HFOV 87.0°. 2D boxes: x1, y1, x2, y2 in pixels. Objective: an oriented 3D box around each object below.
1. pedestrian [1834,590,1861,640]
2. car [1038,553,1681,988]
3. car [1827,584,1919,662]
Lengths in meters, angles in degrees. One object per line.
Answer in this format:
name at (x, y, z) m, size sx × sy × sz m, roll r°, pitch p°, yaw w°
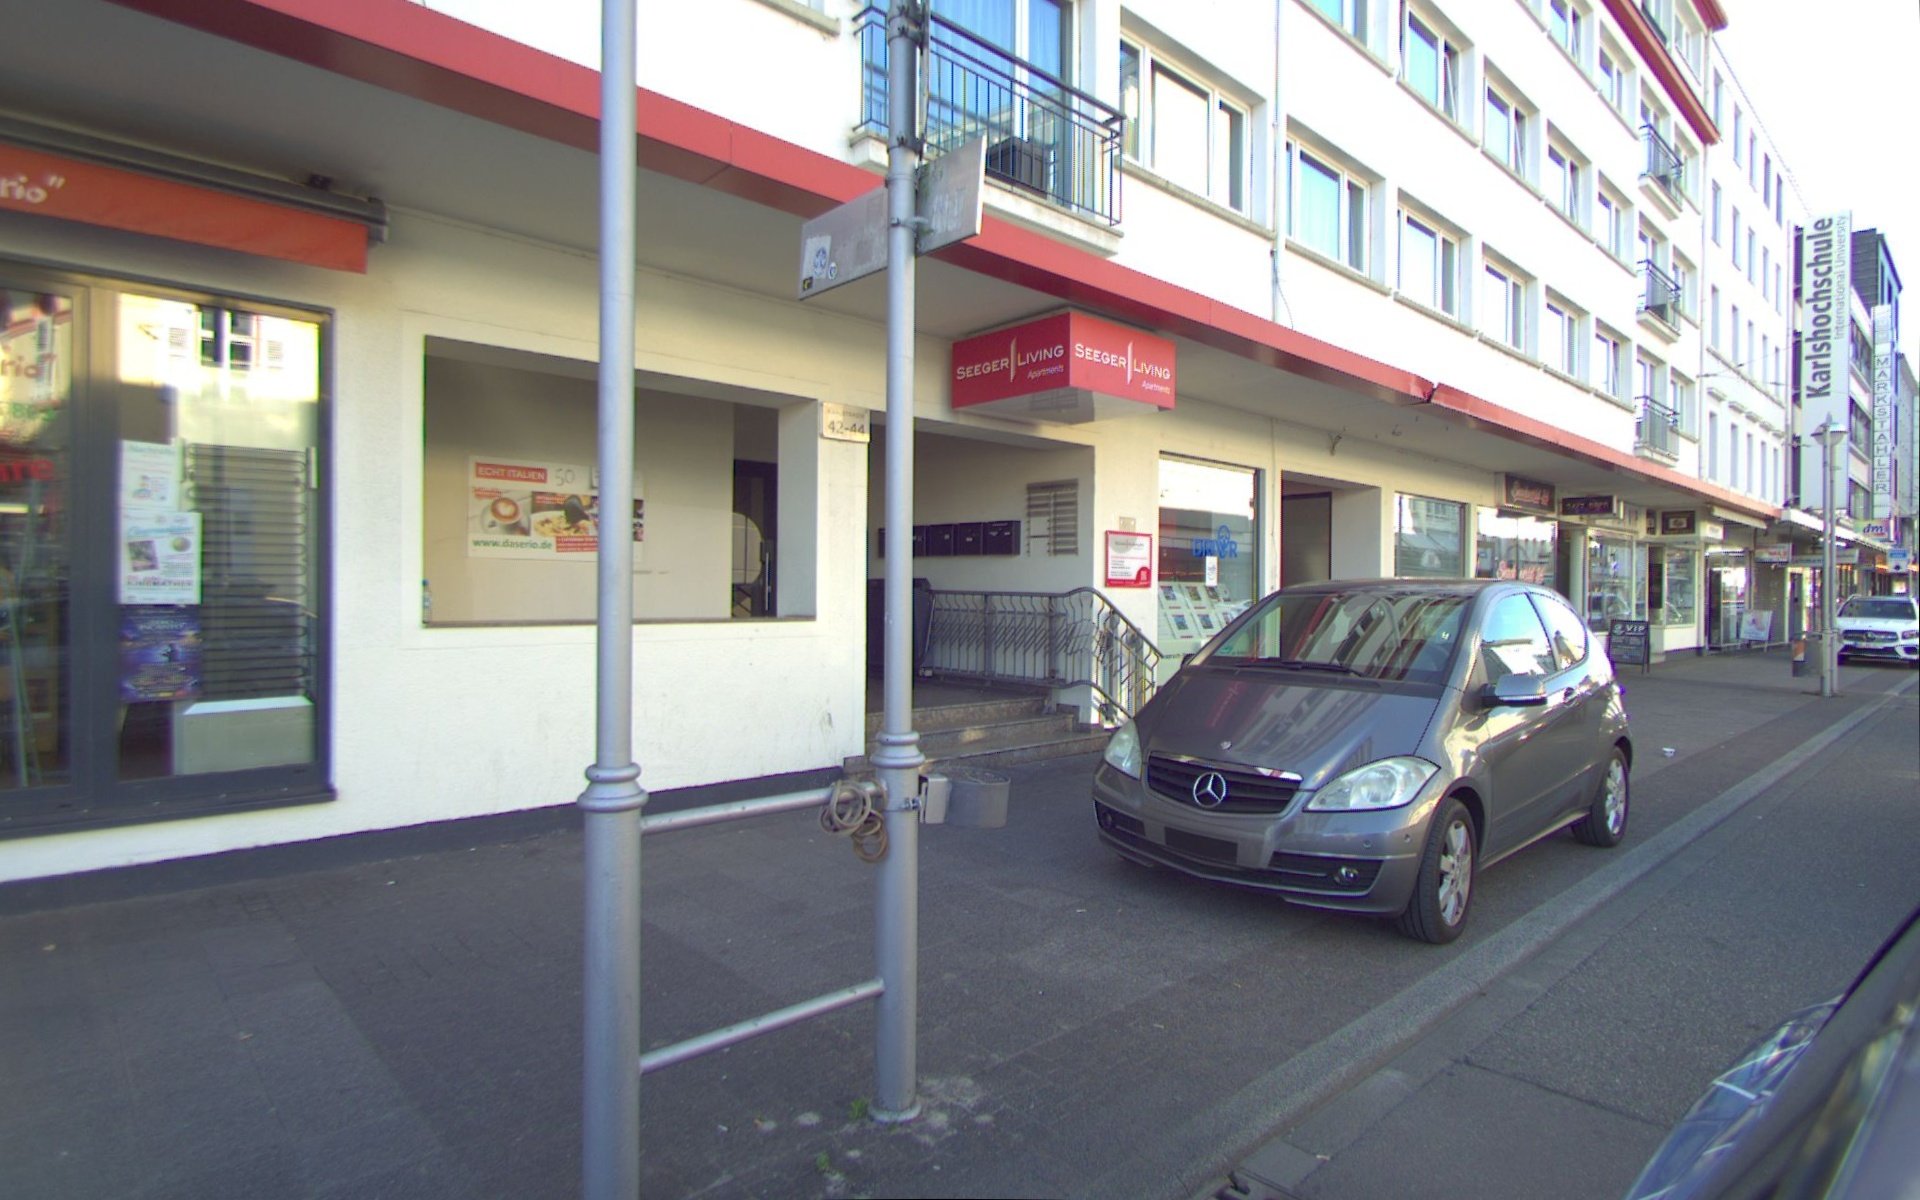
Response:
pedestrian at (33.480, 0.562, 38.169) m, size 0.794 × 1.840 × 0.704 m, roll 0°, pitch 0°, yaw -44°
car at (2.426, 0.571, 5.653) m, size 3.893 × 1.588 × 1.780 m, roll -1°, pitch 2°, yaw -42°
car at (22.197, 0.477, 24.116) m, size 4.092 × 1.684 × 1.781 m, roll -1°, pitch 2°, yaw -42°
